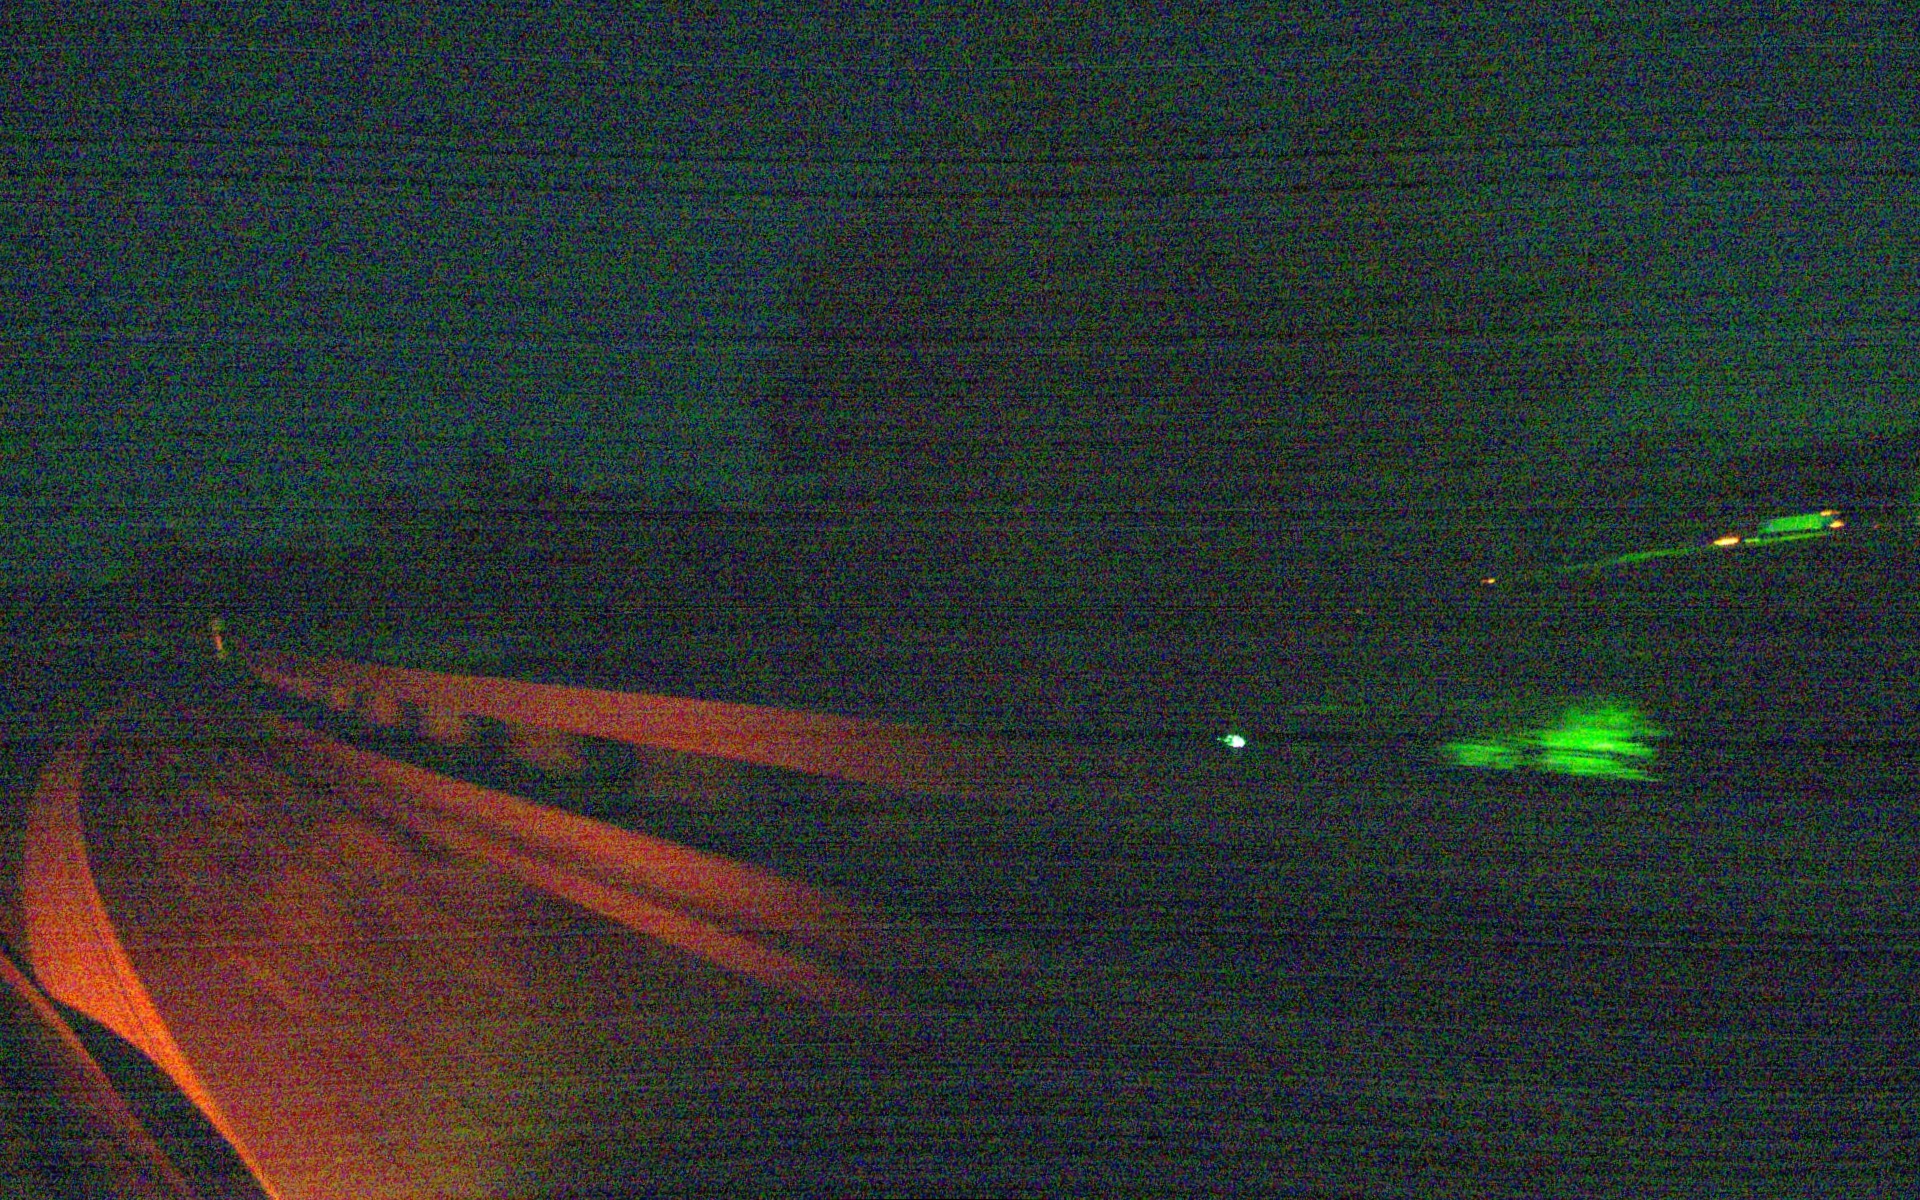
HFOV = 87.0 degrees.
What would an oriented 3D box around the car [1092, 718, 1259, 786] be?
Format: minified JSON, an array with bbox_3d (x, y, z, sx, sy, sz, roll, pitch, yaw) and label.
[{"bbox_3d":[6.542,4.609,30.742,4.611,1.620,1.933,-5,0,22],"label":"car"}]
